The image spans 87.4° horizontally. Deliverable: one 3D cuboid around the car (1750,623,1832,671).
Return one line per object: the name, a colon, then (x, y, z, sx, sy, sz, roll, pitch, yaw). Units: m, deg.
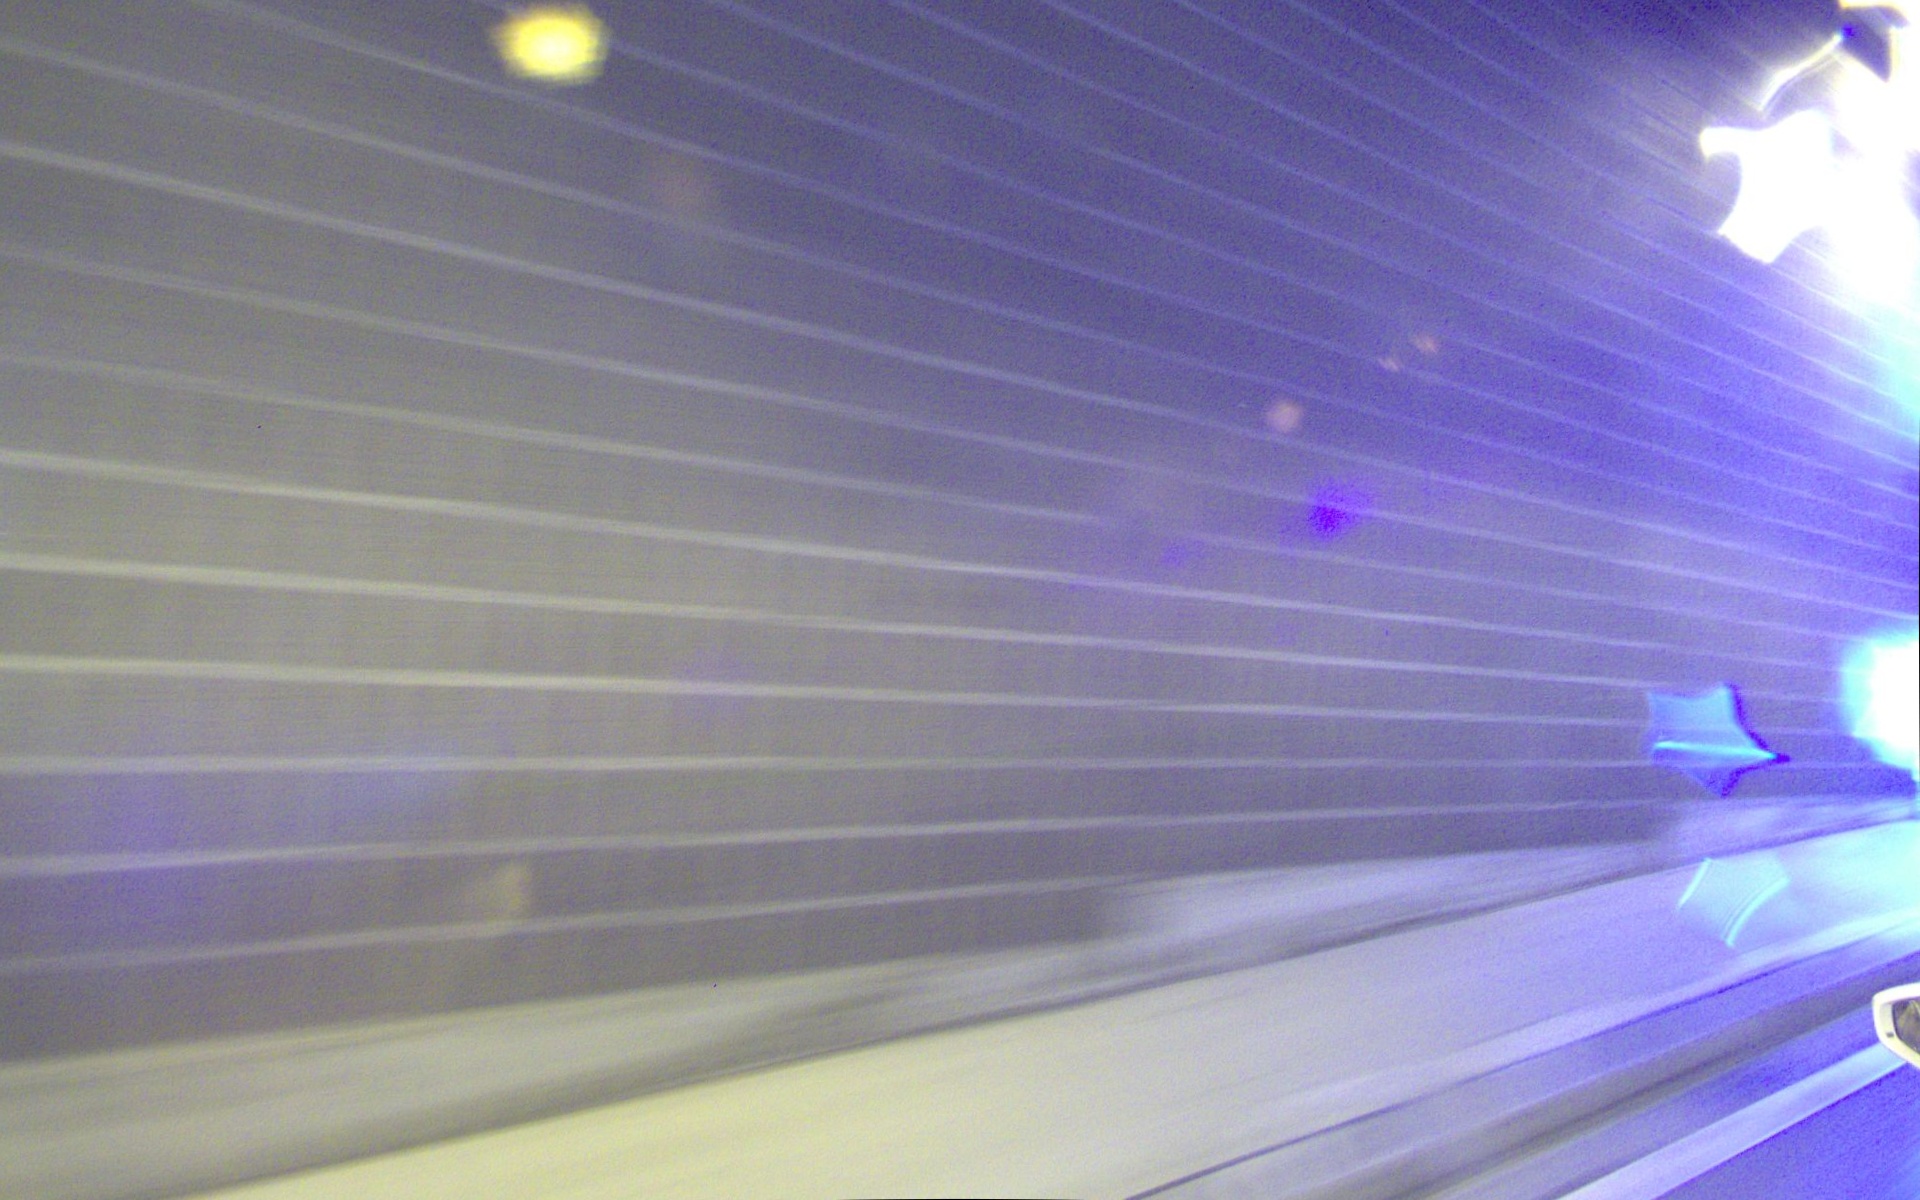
car: (37.047, 2.057, 44.917, 1.809, 1.947, 4.636, 1, 0, 27)

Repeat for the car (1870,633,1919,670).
car: (45.202, 2.448, 48.274, 1.822, 1.609, 4.372, 1, 0, 38)
